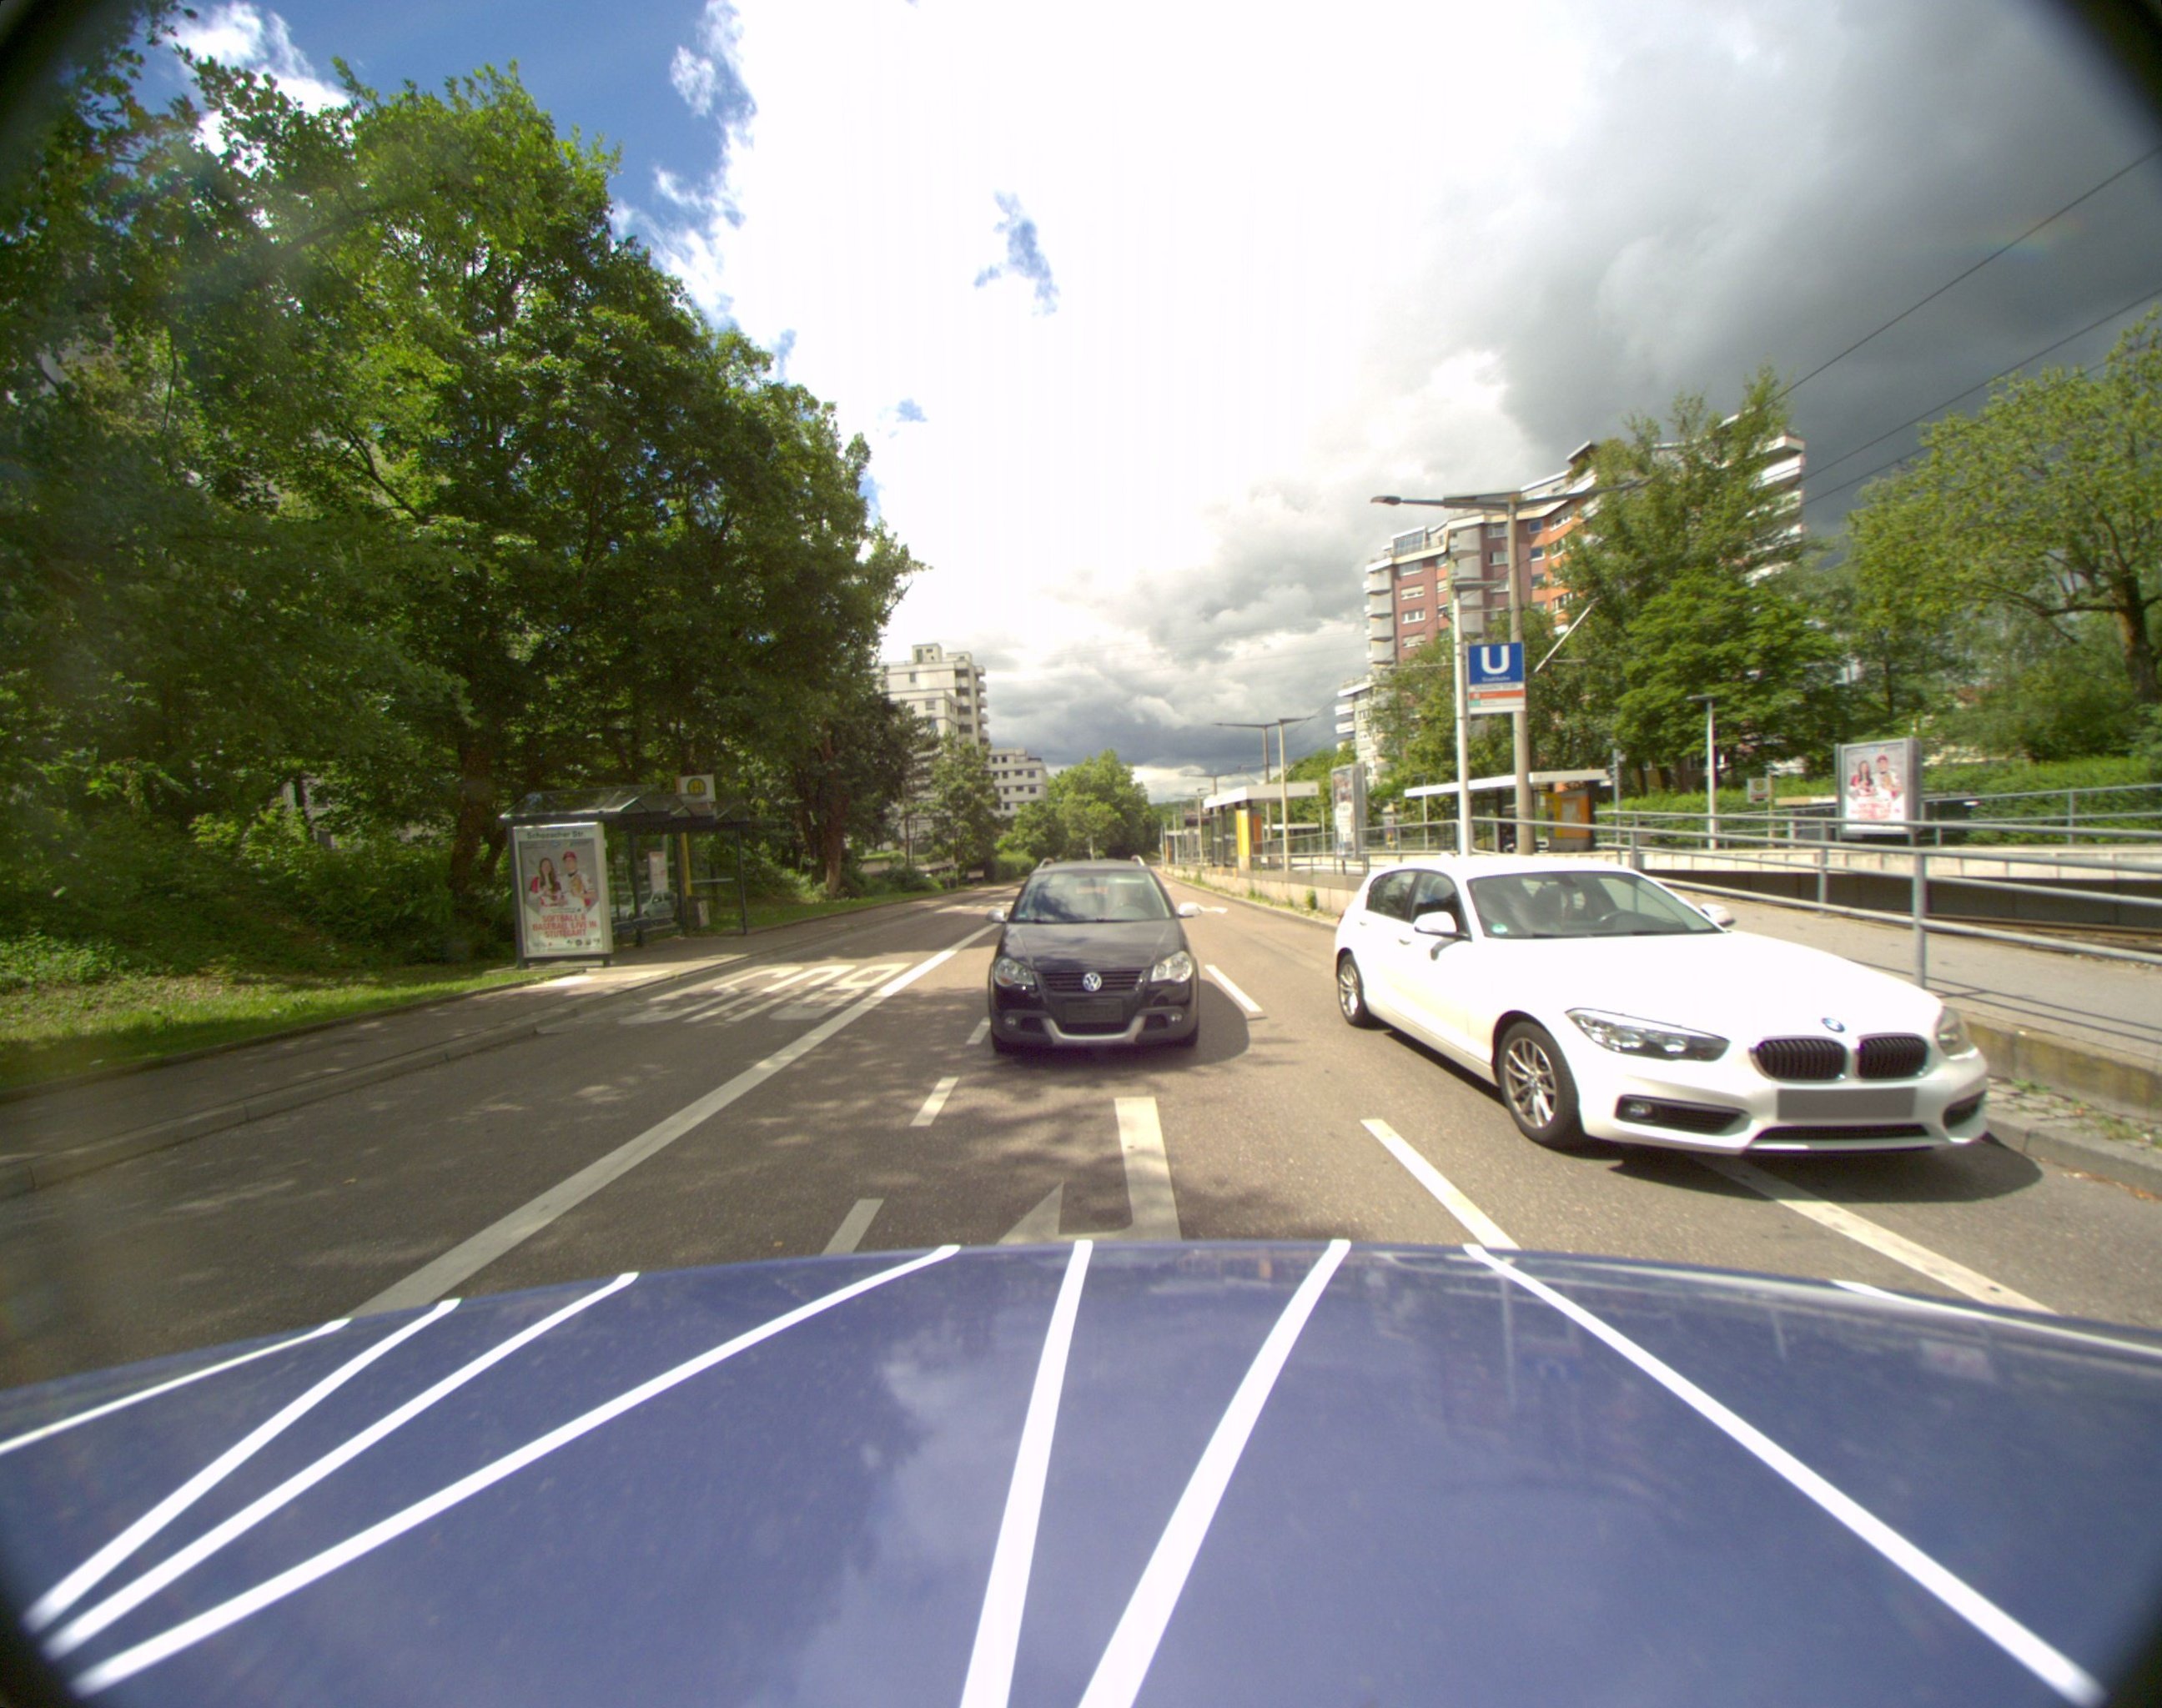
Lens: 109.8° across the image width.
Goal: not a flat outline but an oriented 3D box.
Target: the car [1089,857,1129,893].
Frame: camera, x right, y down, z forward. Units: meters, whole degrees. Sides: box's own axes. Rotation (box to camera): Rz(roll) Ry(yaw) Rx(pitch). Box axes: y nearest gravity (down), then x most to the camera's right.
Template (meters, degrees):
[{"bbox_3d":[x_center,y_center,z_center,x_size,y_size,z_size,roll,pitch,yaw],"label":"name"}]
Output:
[{"bbox_3d":[1.300,0.952,36.134,1.732,1.505,4.000,-2,1,1],"label":"car"}]

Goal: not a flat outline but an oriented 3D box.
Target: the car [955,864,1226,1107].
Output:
[{"bbox_3d":[0.092,0.900,7.039,1.732,1.501,4.000,-2,0,1],"label":"car"}]

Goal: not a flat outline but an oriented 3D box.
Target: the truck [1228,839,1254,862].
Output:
[{"bbox_3d":[23.780,-0.446,113.047,2.420,3.203,7.263,-2,0,1],"label":"truck"}]

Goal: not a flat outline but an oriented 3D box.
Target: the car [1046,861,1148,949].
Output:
[{"bbox_3d":[0.305,0.920,15.357,1.732,1.453,4.000,-2,0,1],"label":"car"}]

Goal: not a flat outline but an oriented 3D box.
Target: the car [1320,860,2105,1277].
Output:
[{"bbox_3d":[3.028,0.838,4.883,1.732,1.453,4.000,-2,1,1],"label":"car"}]

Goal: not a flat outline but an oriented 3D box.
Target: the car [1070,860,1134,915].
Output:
[{"bbox_3d":[0.690,0.954,23.203,1.732,1.452,4.001,-2,0,3],"label":"car"}]
